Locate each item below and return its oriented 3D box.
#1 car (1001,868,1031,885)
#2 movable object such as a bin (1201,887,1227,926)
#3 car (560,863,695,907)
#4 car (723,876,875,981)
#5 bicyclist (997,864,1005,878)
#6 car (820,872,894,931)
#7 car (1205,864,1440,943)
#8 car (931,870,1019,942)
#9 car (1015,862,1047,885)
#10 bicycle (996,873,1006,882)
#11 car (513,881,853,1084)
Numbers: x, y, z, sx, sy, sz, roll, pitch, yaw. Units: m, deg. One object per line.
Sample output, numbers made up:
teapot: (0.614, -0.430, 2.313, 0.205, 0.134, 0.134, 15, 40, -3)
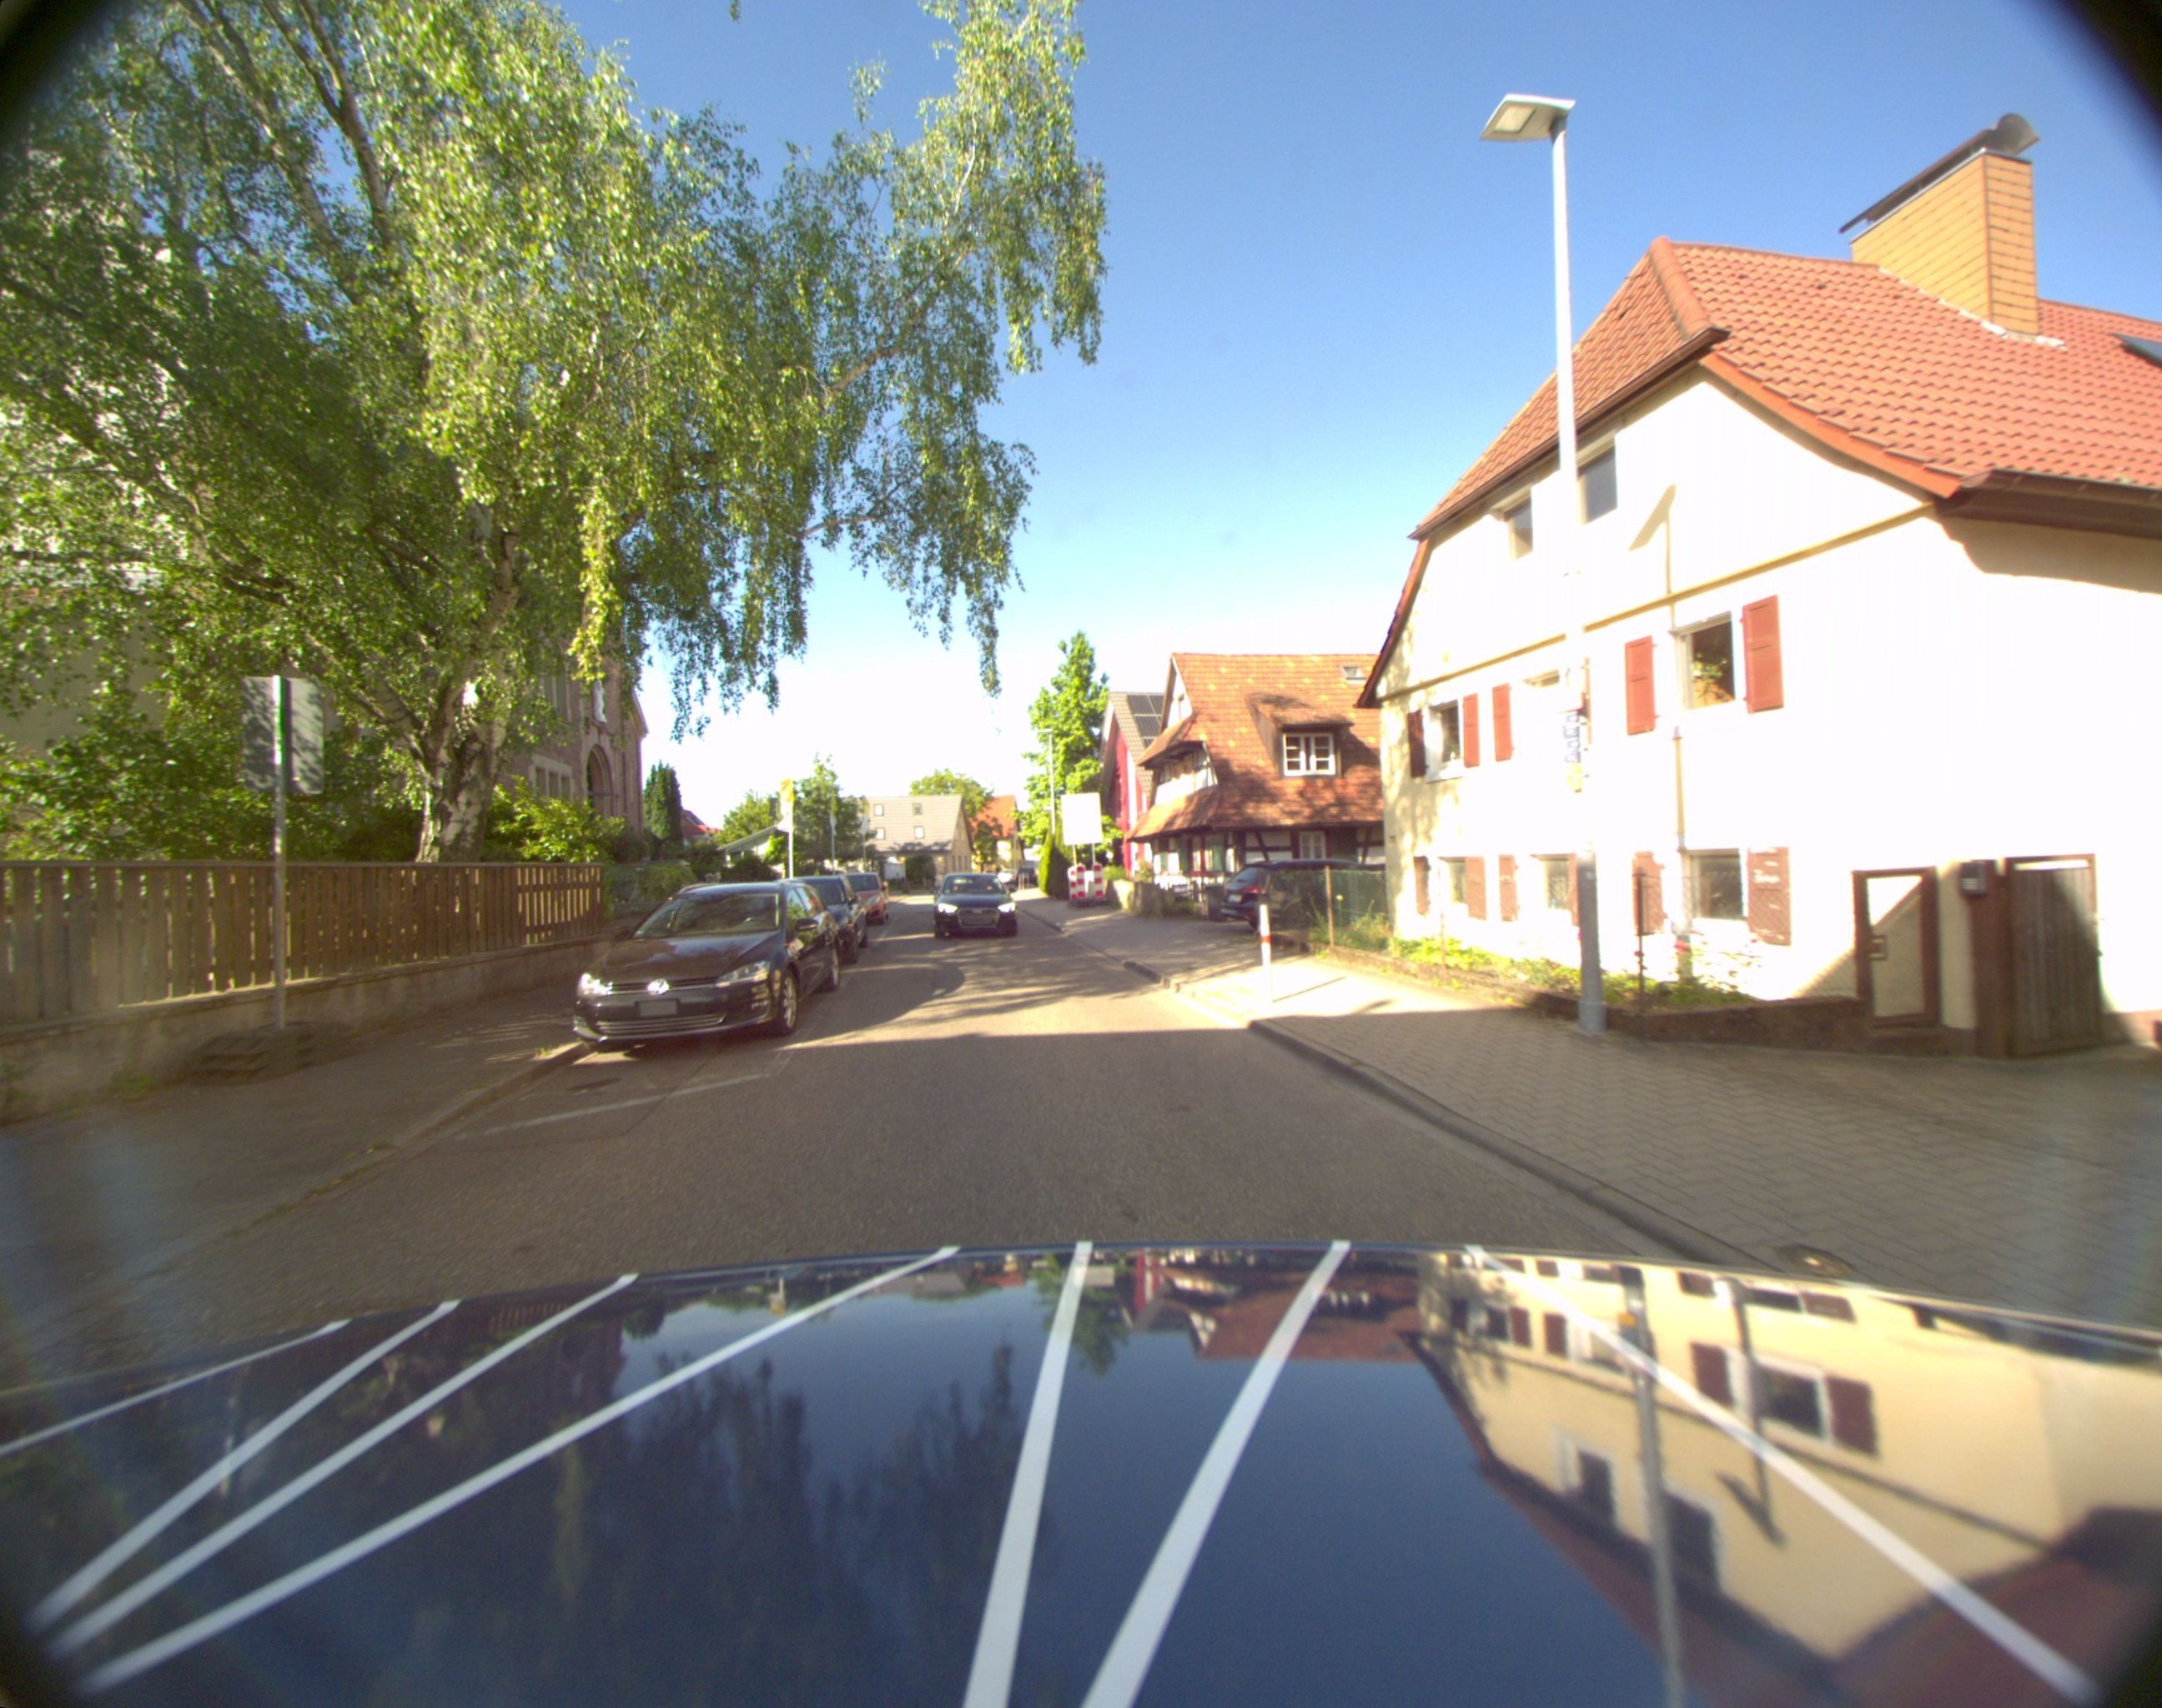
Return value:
car: (-5.632, 1.910, 65.851, 1.674, 1.394, 3.895, -3, -1, 9)
movable object such as a bin: (3.156, 1.244, 18.015, 0.584, 0.892, 0.556, 0, 0, 11)
car: (-16.622, 1.139, 28.050, 3.914, 1.487, 1.901, 2, 0, -17)
car: (-4.746, 1.157, 13.399, 1.814, 1.427, 4.282, -2, -1, -12)
bicyclist: (-7.378, 1.590, 70.081, 0.582, 1.312, 0.608, 0, 0, 6)
car: (-6.378, 1.295, 21.977, 1.654, 1.470, 3.930, -2, -1, -12)
car: (4.824, 0.943, 15.353, 4.174, 1.453, 1.846, 0, -1, -14)
car: (-2.542, 1.125, 18.045, 1.809, 1.468, 4.341, -1, -1, -9)
car: (-4.000, 1.549, 61.634, 1.836, 1.661, 4.355, -1, 0, 6)
bicycle: (-7.350, 2.158, 70.075, 0.582, 0.757, 1.801, 0, -1, 7)
car: (-3.776, 1.081, 8.164, 1.813, 1.427, 4.283, -2, -1, -8)
